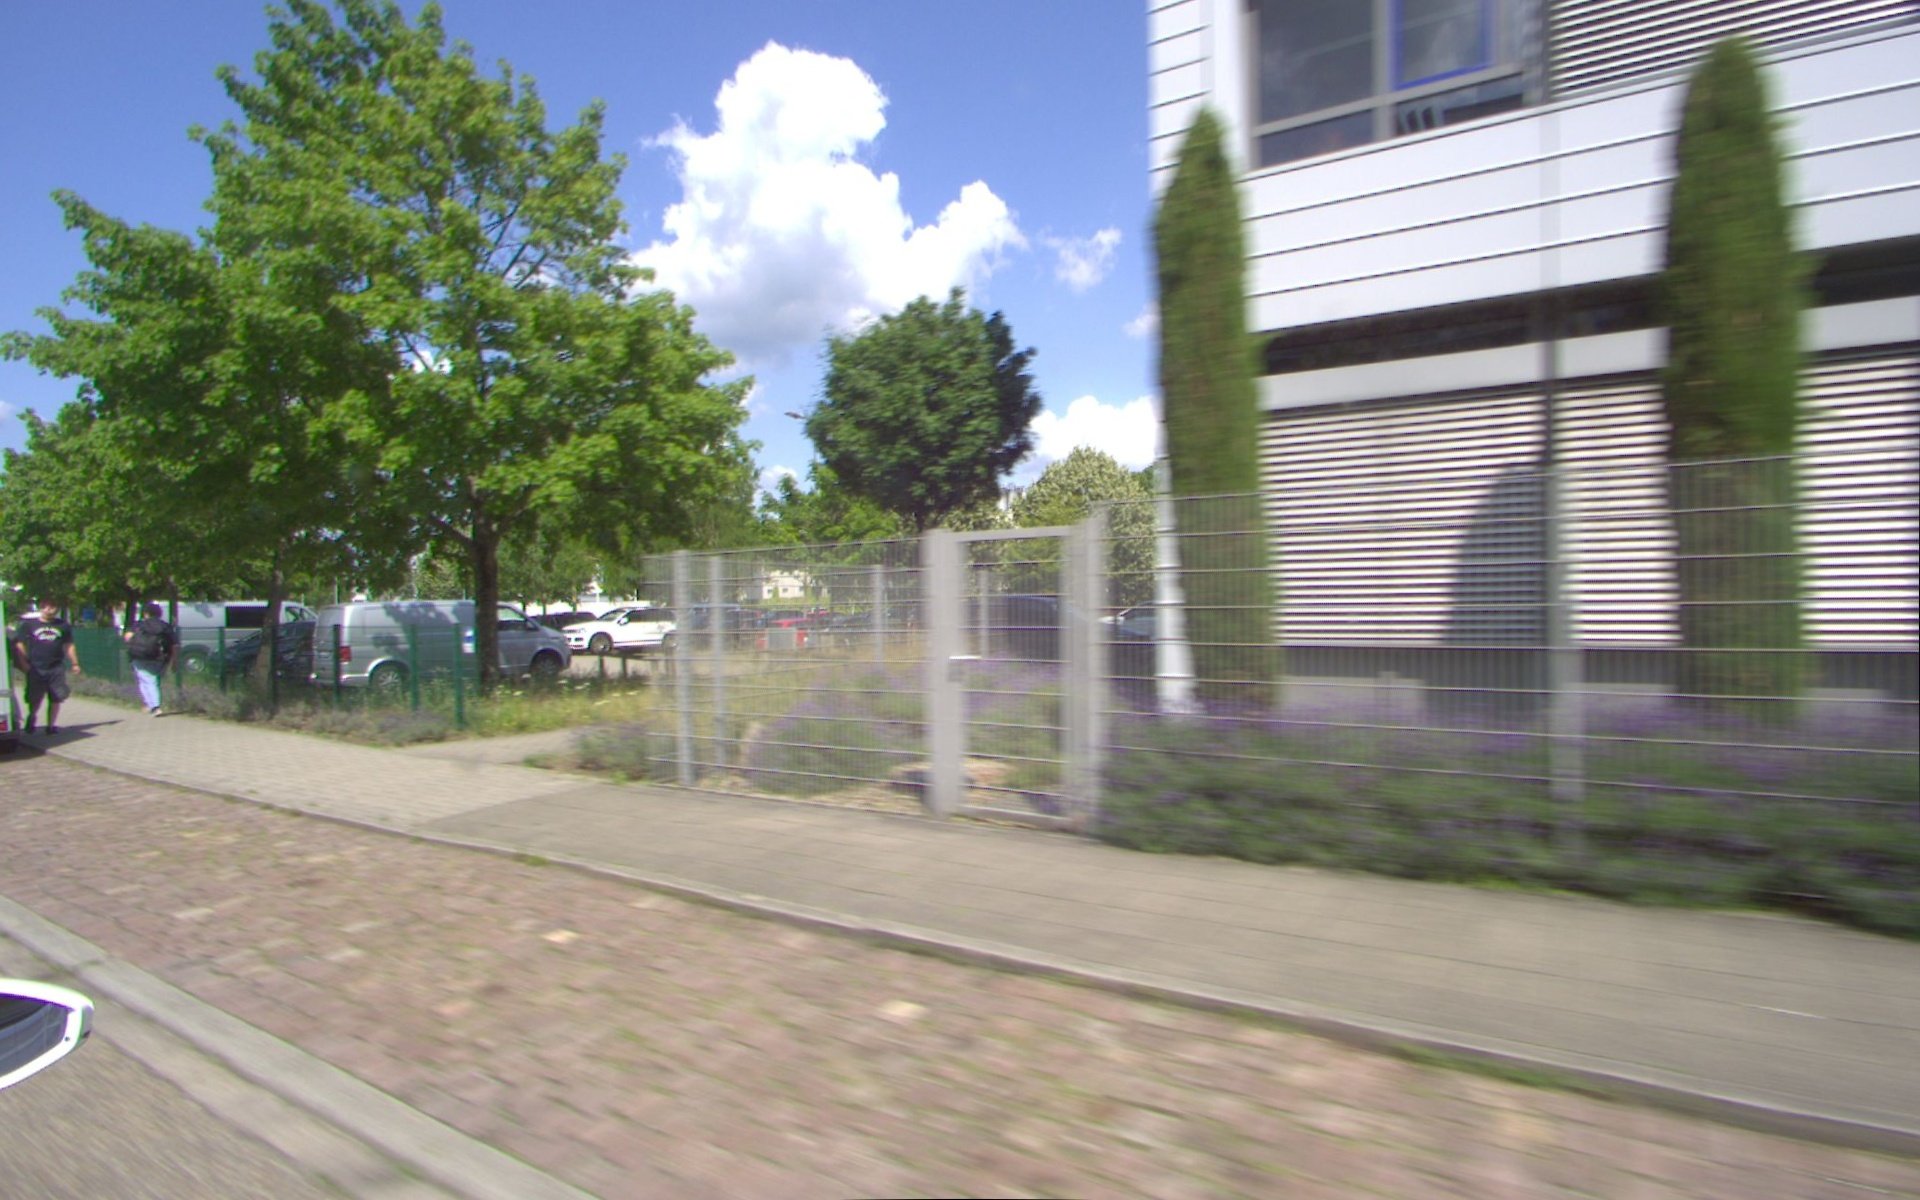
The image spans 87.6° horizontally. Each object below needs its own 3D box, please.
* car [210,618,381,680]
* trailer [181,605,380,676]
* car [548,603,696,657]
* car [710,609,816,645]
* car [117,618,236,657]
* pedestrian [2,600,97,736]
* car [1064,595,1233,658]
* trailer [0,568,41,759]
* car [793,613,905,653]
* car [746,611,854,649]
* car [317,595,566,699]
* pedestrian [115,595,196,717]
[{"bbox_3d":[-19.736,1.415,29.864,1.674,1.658,3.967,-1,-1,41],"label":"car"},{"bbox_3d":[-21.980,1.247,32.573,2.038,2.109,5.021,-1,-1,42],"label":"trailer"},{"bbox_3d":[-12.234,1.034,36.533,1.894,1.790,4.823,0,1,42],"label":"car"},{"bbox_3d":[-8.064,1.087,41.167,1.838,1.392,3.964,-2,-1,44],"label":"car"},{"bbox_3d":[-37.494,1.781,47.998,1.745,1.643,4.290,-2,0,44],"label":"car"},{"bbox_3d":[-11.771,0.853,12.948,0.572,1.670,0.724,0,3,36],"label":"pedestrian"},{"bbox_3d":[5.420,0.806,28.938,4.465,1.701,1.729,-2,-2,29],"label":"car"},{"bbox_3d":[-12.457,0.776,11.756,3.898,2.096,1.738,-2,2,38],"label":"trailer"},{"bbox_3d":[-4.121,1.212,37.593,1.819,1.392,3.964,-2,-1,44],"label":"car"},{"bbox_3d":[-6.231,1.163,39.264,1.701,1.392,3.964,-2,-1,44],"label":"car"},{"bbox_3d":[-11.322,0.941,22.153,1.976,1.992,4.448,-1,0,38],"label":"car"},{"bbox_3d":[-11.790,0.802,14.676,0.730,1.716,0.718,-1,1,36],"label":"pedestrian"}]
